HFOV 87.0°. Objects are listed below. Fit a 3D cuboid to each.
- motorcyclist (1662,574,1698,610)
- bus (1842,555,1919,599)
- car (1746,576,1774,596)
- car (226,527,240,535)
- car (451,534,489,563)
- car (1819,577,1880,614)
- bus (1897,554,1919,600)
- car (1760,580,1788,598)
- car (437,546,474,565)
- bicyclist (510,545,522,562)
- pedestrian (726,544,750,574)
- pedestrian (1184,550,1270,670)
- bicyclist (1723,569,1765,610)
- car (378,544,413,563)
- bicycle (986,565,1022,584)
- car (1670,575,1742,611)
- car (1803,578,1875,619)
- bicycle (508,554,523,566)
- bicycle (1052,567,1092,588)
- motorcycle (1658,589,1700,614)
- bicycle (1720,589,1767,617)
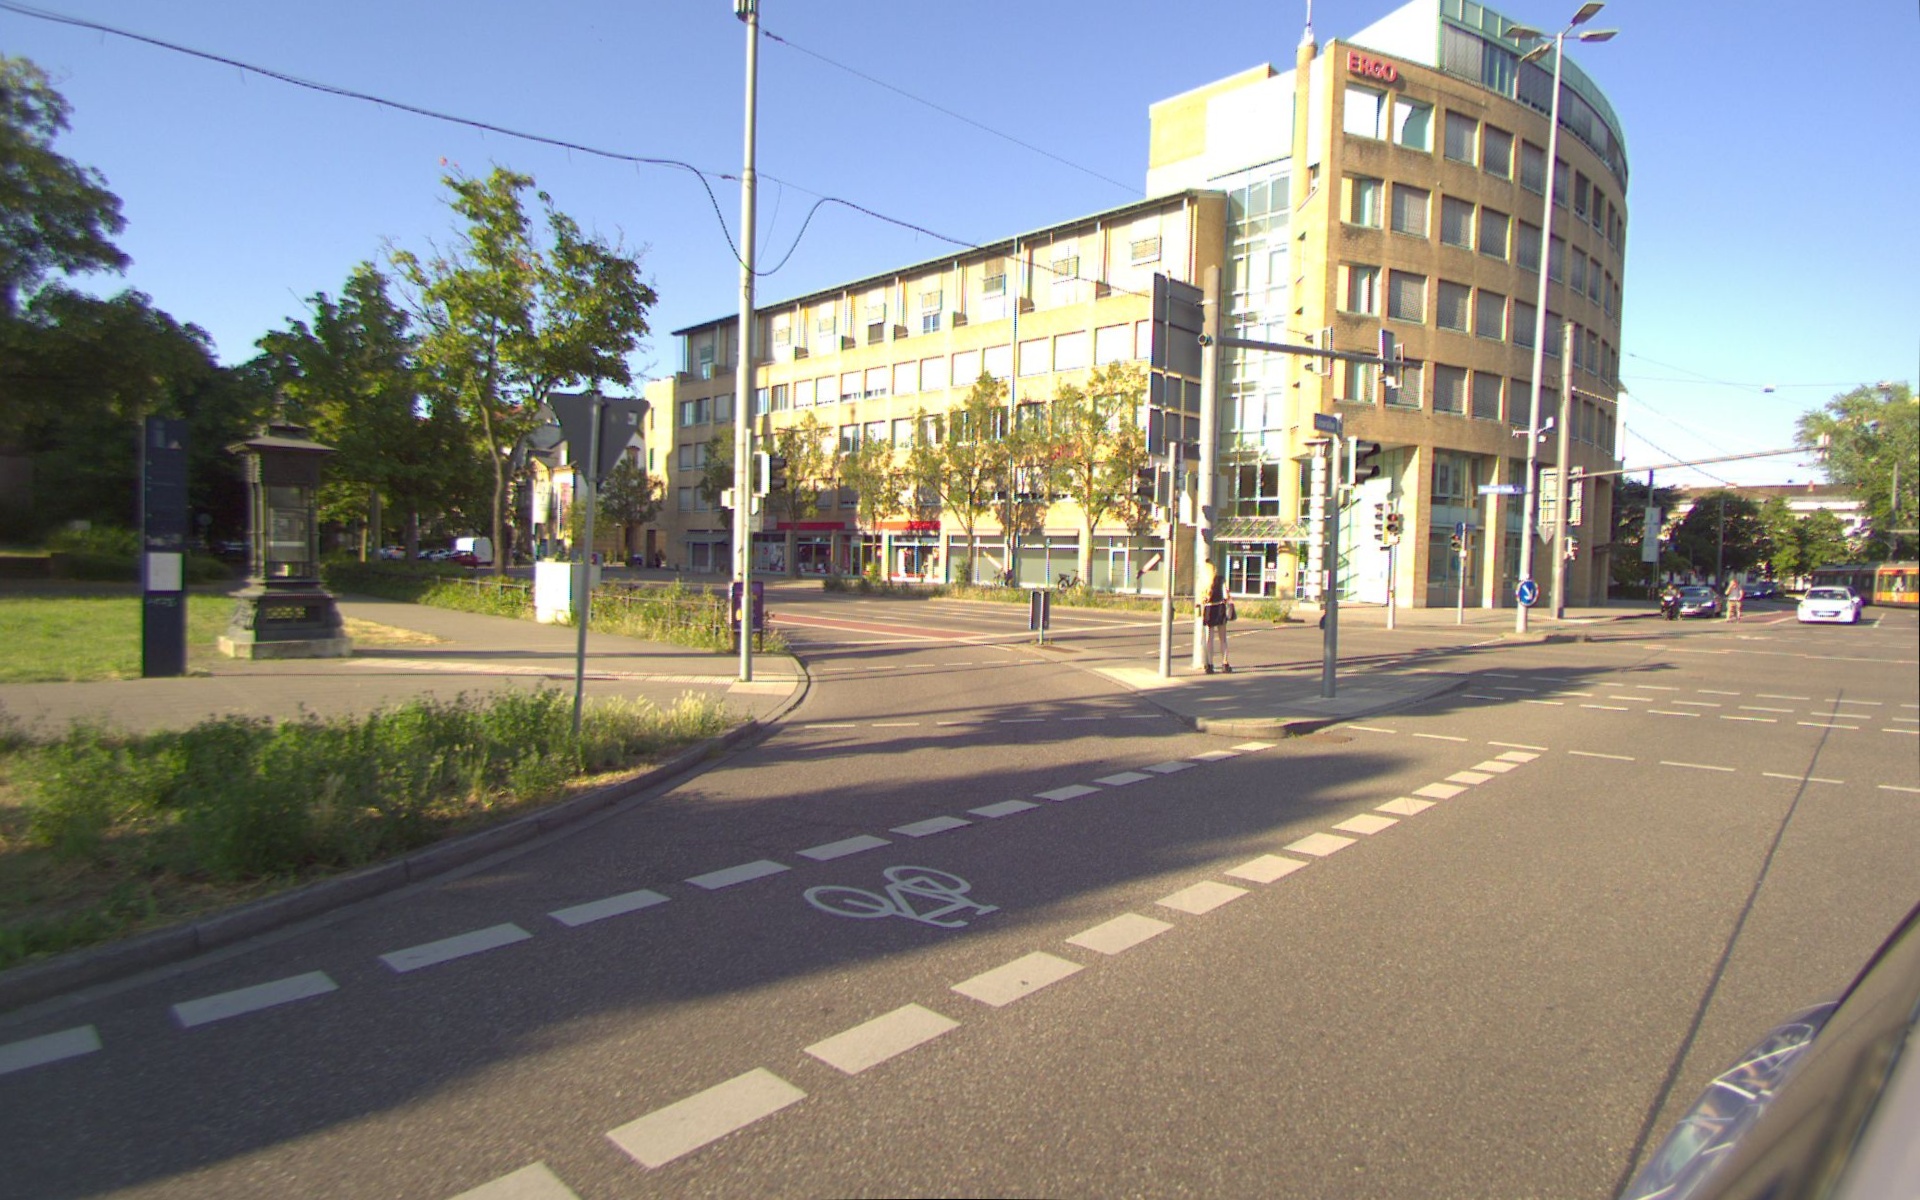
[{"bbox_3d":[30.600,-0.357,43.009,1.051,1.453,1.029,0,2,-45],"label":"motorcyclist"},{"bbox_3d":[72.309,-1.802,78.840,2.328,3.249,10.987,2,2,25],"label":"bus"},{"bbox_3d":[79.348,-1.382,100.390,1.839,1.840,3.938,3,3,43],"label":"car"},{"bbox_3d":[-122.493,-11.681,170.467,1.573,1.283,3.260,-1,3,-44],"label":"car"},{"bbox_3d":[-44.569,-4.717,92.020,1.967,2.470,3.992,1,2,-44],"label":"car"},{"bbox_3d":[40.219,-0.228,45.716,1.815,1.510,3.999,3,3,45],"label":"car"},{"bbox_3d":[67.653,-1.538,68.889,2.386,3.249,11.021,2,2,26],"label":"bus"},{"bbox_3d":[90.121,-1.220,112.054,3.933,1.840,1.841,0,3,-43],"label":"car"},{"bbox_3d":[-41.553,-3.679,83.311,1.647,1.480,3.991,1,2,-44],"label":"car"},{"bbox_3d":[-39.429,-4.128,89.856,0.584,1.386,0.928,2,2,-44],"label":"bicyclist"},{"bbox_3d":[-14.842,-2.749,67.646,1.093,2.000,1.158,0,2,-44],"label":"pedestrian"},{"bbox_3d":[4.114,0.131,15.617,0.798,1.760,0.966,0,2,-43],"label":"pedestrian"},{"bbox_3d":[31.426,-0.424,40.564,1.151,1.591,1.207,3,3,44],"label":"bicyclist"},{"bbox_3d":[-54.167,-4.466,97.100,1.891,1.627,4.260,1,2,-44],"label":"car"},{"bbox_3d":[2.389,-1.395,54.951,0.638,1.007,2.076,0,3,-44],"label":"bicycle"},{"bbox_3d":[35.000,-0.349,47.446,4.422,1.556,1.982,-1,3,-44],"label":"car"},{"bbox_3d":[35.386,-0.099,40.700,1.989,1.510,4.111,3,3,44],"label":"car"},{"bbox_3d":[-39.471,-3.547,89.884,0.584,0.954,1.974,2,2,-44],"label":"bicycle"},{"bbox_3d":[5.680,-1.164,51.560,0.638,1.007,2.076,0,3,-44],"label":"bicycle"},{"bbox_3d":[30.580,0.057,43.010,1.029,0.975,2.683,3,3,45],"label":"motorcycle"},{"bbox_3d":[31.485,0.098,40.648,1.151,1.013,2.923,3,3,44],"label":"bicycle"}]
